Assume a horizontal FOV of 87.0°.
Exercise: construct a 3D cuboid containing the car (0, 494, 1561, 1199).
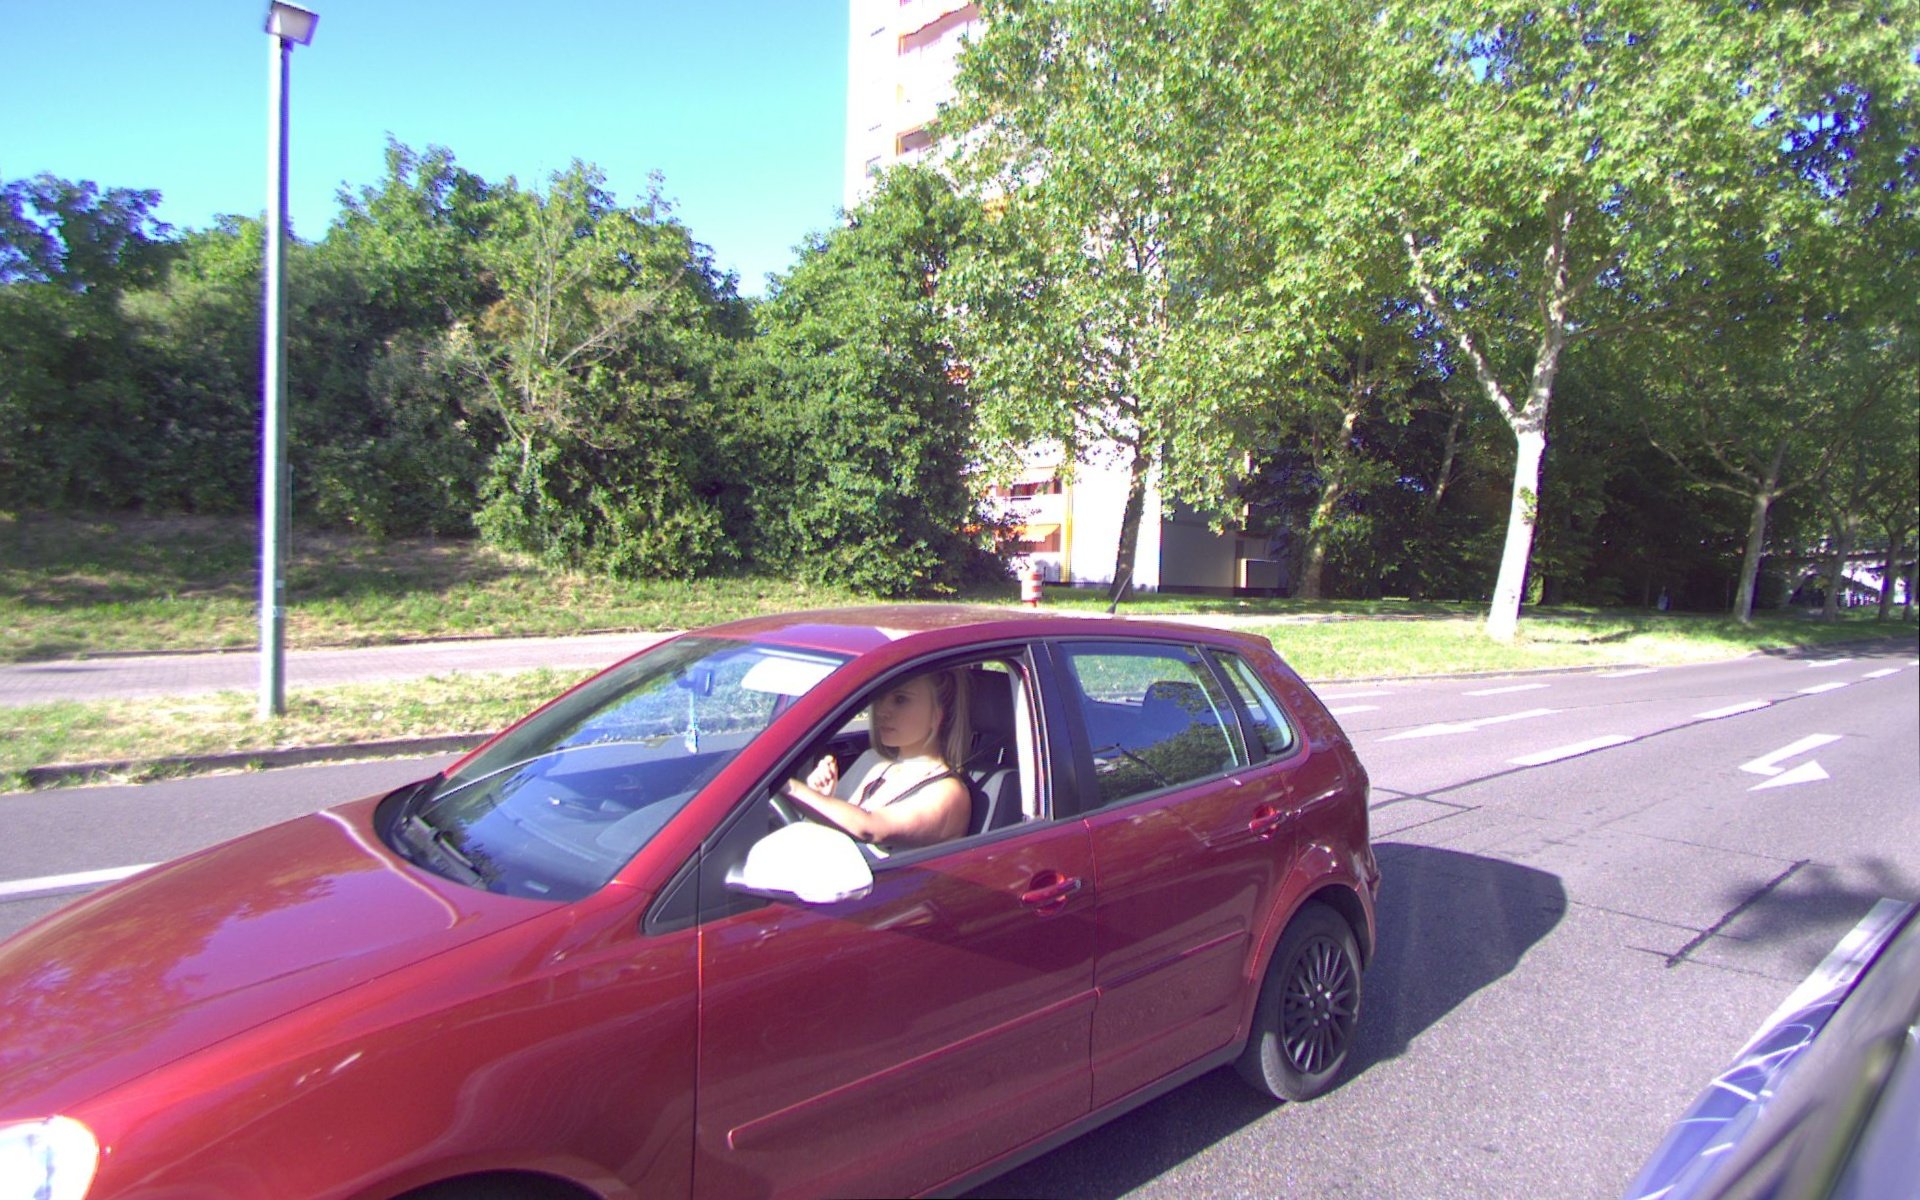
[{"bbox_3d":[-0.079,0.657,3.100,4.640,1.578,1.772,0,1,-39],"label":"car"}]
